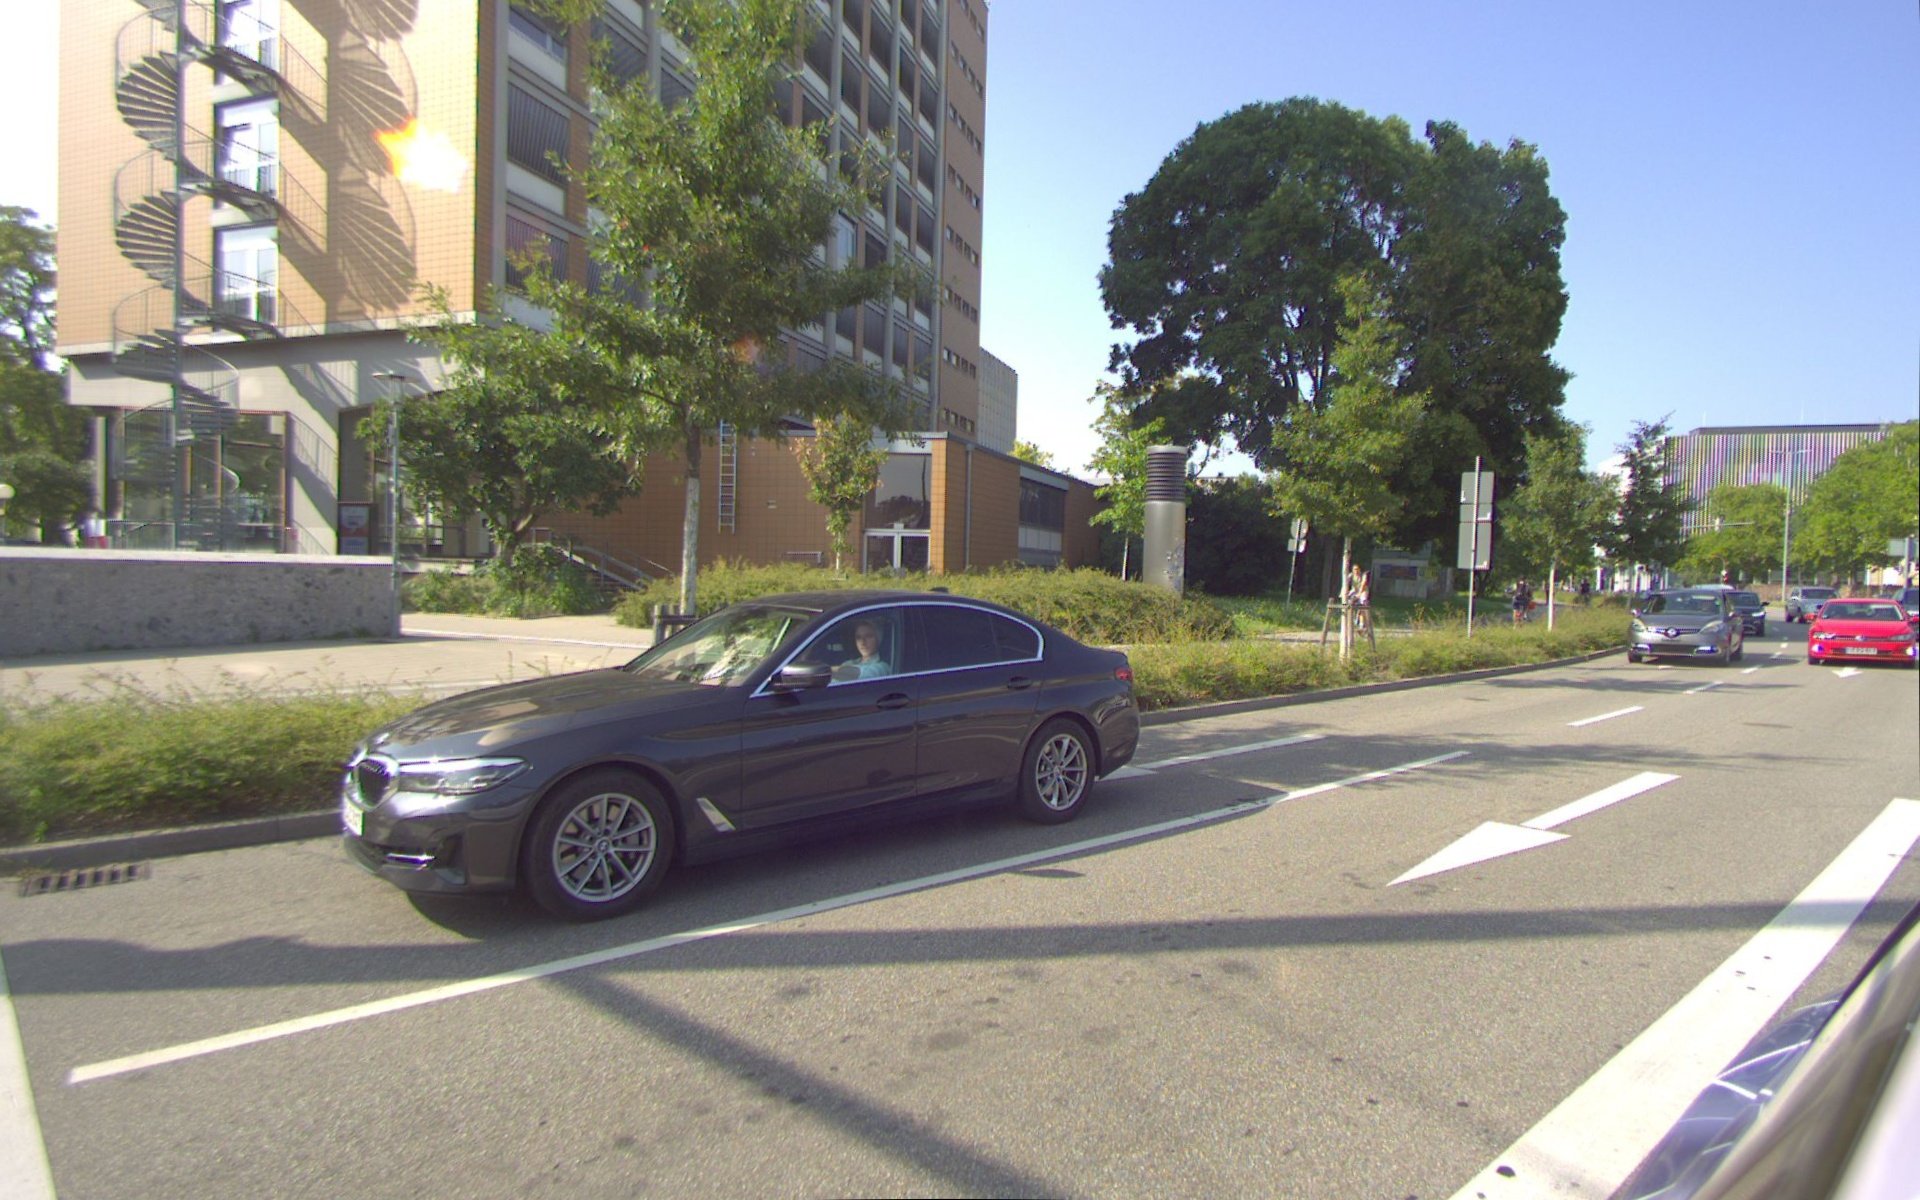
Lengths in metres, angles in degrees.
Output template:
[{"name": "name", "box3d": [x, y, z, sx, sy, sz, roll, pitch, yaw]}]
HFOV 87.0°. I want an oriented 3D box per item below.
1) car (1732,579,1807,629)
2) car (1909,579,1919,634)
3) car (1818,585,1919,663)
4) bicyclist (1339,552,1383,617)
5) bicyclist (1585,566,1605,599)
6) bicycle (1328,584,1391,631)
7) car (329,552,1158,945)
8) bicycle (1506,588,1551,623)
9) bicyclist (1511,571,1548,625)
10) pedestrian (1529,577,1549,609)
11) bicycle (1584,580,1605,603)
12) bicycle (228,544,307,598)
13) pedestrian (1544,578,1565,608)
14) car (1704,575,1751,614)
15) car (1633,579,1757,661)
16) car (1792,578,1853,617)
[{"name": "car", "box3d": [28.306, 0.135, 35.376, 1.932, 1.627, 4.468, 1, 0, 40]}, {"name": "car", "box3d": [31.212, 0.203, 31.753, 1.775, 1.714, 4.467, -1, -1, 40]}, {"name": "car", "box3d": [20.082, 0.455, 22.154, 1.683, 1.510, 4.303, 3, 2, 44]}, {"name": "bicyclist", "box3d": [10.141, -0.397, 25.572, 0.770, 1.613, 0.910, 2, 1, 41]}, {"name": "bicyclist", "box3d": [32.486, -0.895, 51.784, 0.769, 1.697, 0.912, 1, 1, 36]}, {"name": "bicycle", "box3d": [10.106, 0.162, 25.552, 0.770, 1.131, 2.270, 2, 2, 41]}, {"name": "car", "box3d": [-0.944, 0.551, 6.031, 4.591, 1.510, 1.686, 0, 1, -41]}, {"name": "bicycle", "box3d": [16.752, 0.132, 29.800, 0.719, 0.971, 1.892, 3, 2, 43]}, {"name": "bicyclist", "box3d": [16.783, -0.063, 29.816, 0.719, 1.531, 0.989, 2, 2, 43]}, {"name": "pedestrian", "box3d": [27.264, -0.349, 47.664, 0.723, 1.461, 0.846, 2, 1, 36]}, {"name": "bicycle", "box3d": [32.529, -0.441, 51.869, 0.769, 1.131, 2.274, 2, 2, 35]}, {"name": "bicycle", "box3d": [-19.286, -0.813, 28.240, 0.601, 1.450, 1.803, 2, 2, 21]}, {"name": "pedestrian", "box3d": [37.111, -0.416, 63.205, 0.955, 1.804, 0.990, 4, 3, 35]}, {"name": "car", "box3d": [41.822, -0.336, 55.225, 1.676, 1.966, 4.321, 2, 2, 33]}, {"name": "car", "box3d": [16.367, 0.392, 22.439, 1.777, 1.626, 4.353, 0, 0, 42]}, {"name": "car", "box3d": [41.055, -0.086, 48.249, 1.772, 1.742, 4.474, -1, -1, 36]}]
